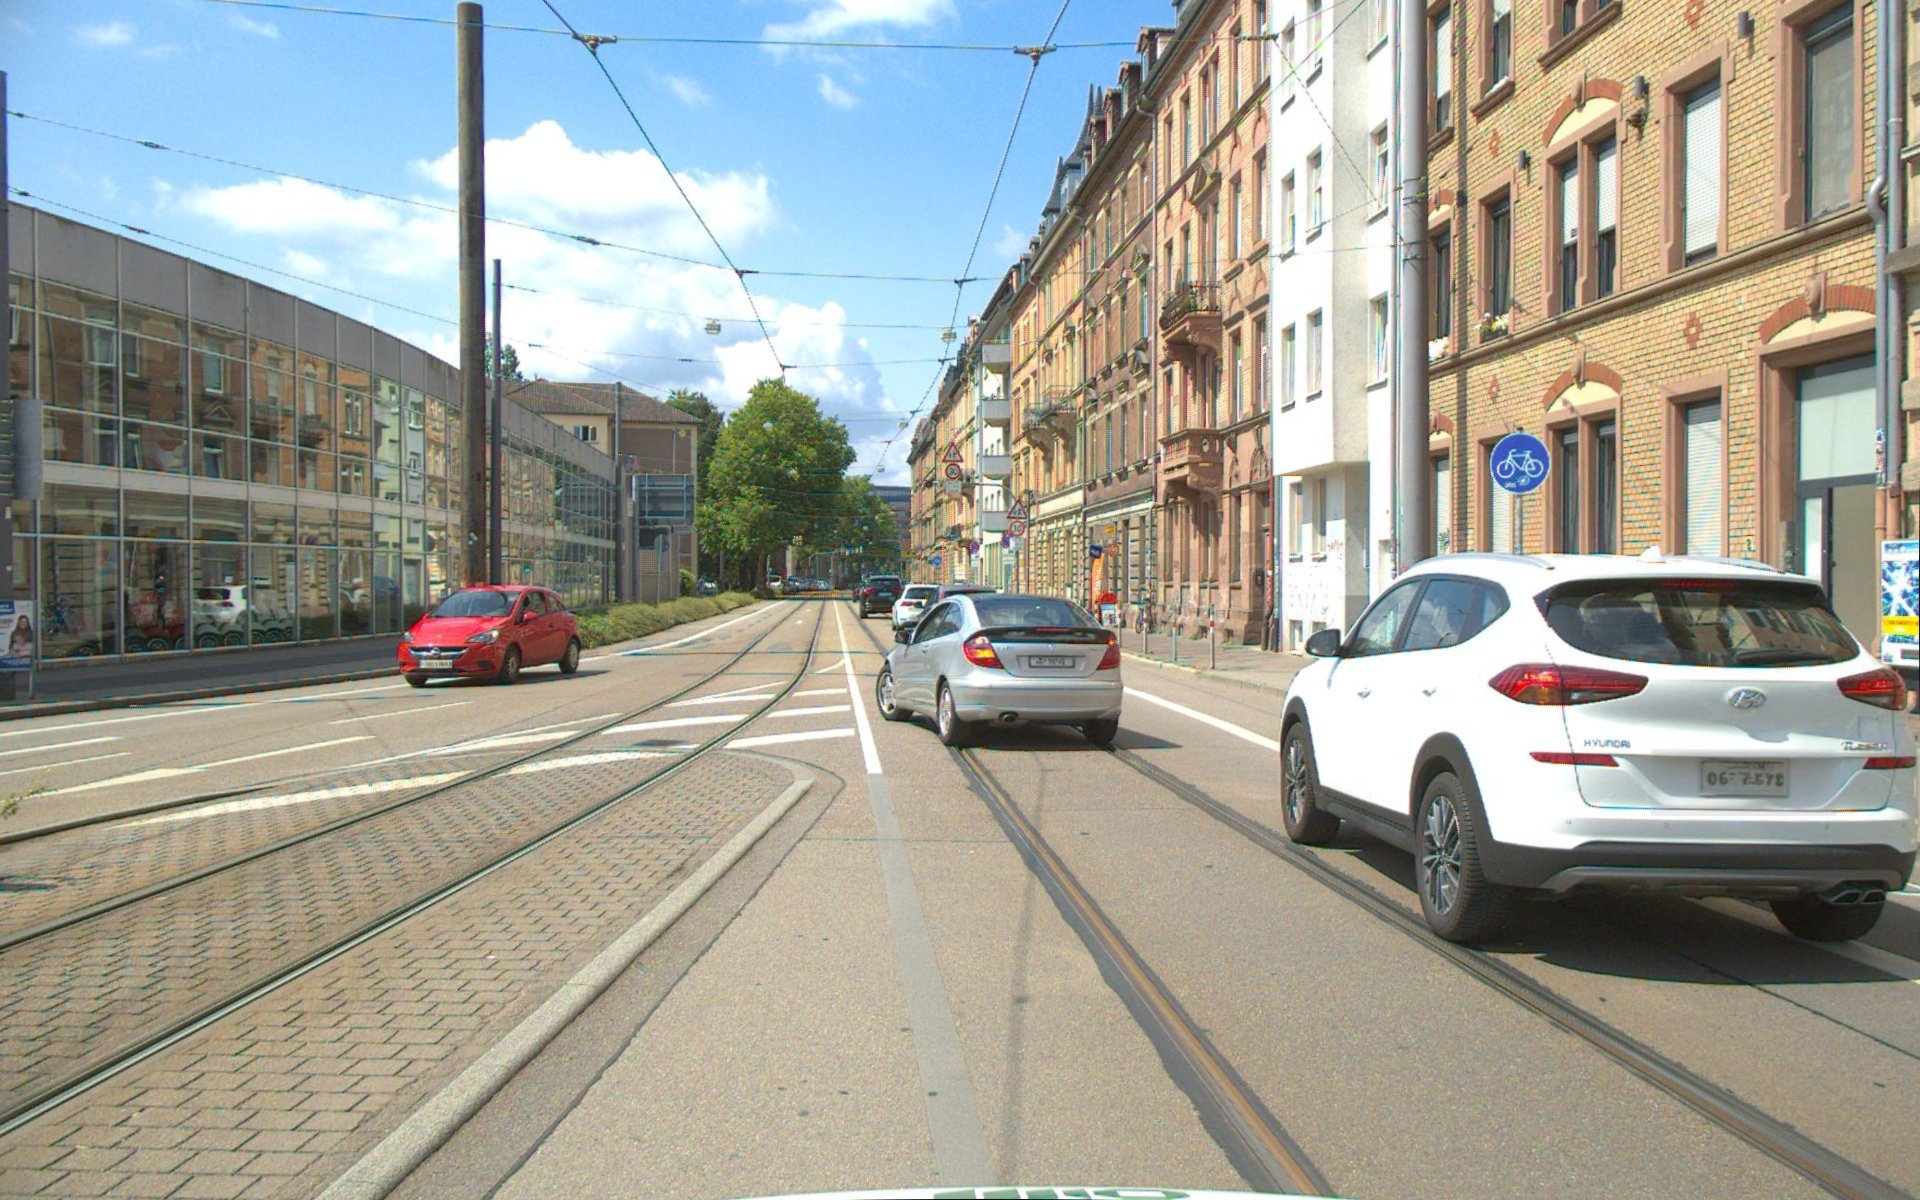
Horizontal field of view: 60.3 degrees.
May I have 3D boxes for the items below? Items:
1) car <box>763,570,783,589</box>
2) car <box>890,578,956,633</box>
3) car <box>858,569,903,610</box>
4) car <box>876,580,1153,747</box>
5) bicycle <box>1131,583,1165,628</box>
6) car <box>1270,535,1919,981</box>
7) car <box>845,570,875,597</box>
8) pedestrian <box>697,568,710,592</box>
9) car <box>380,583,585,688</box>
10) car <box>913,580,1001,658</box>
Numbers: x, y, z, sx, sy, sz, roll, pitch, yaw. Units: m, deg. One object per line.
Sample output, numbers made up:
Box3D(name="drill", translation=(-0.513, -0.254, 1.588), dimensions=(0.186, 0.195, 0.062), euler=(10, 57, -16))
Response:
Box3D(name="car", translation=(-19.196, -2.146, 169.743), dimensions=(1.912, 1.928, 4.561), euler=(0, 1, -5))
Box3D(name="car", translation=(-1.172, 0.135, 50.717), dimensions=(1.779, 1.550, 3.952), euler=(-1, 1, -5))
Box3D(name="car", translation=(-3.387, -0.468, 69.784), dimensions=(1.779, 1.690, 4.081), euler=(0, 1, -5))
Box3D(name="car", translation=(0.408, 0.536, 16.868), dimensions=(1.783, 1.444, 4.173), euler=(-1, 1, -14))
Box3D(name="bicycle", translation=(5.309, 0.143, 46.868), dimensions=(0.575, 1.199, 2.203), euler=(-1, 1, -4))
Box3D(name="car", translation=(2.923, 0.598, 8.302), dimensions=(1.815, 1.662, 4.179), euler=(1, 0, -2))
Box3D(name="car", translation=(-7.219, -1.192, 119.061), dimensions=(1.955, 1.892, 3.995), euler=(-1, 1, -6))
Box3D(name="pedestrian", translation=(-20.394, -1.567, 131.637), dimensions=(0.863, 1.898, 1.080), euler=(-1, 1, -4))
Box3D(name="car", translation=(-7.403, 0.494, 26.051), dimensions=(1.665, 1.453, 3.905), euler=(-1, 1, 7))
Box3D(name="car", translation=(-0.113, 0.361, 35.656), dimensions=(1.778, 1.550, 4.084), euler=(0, 1, -2))
